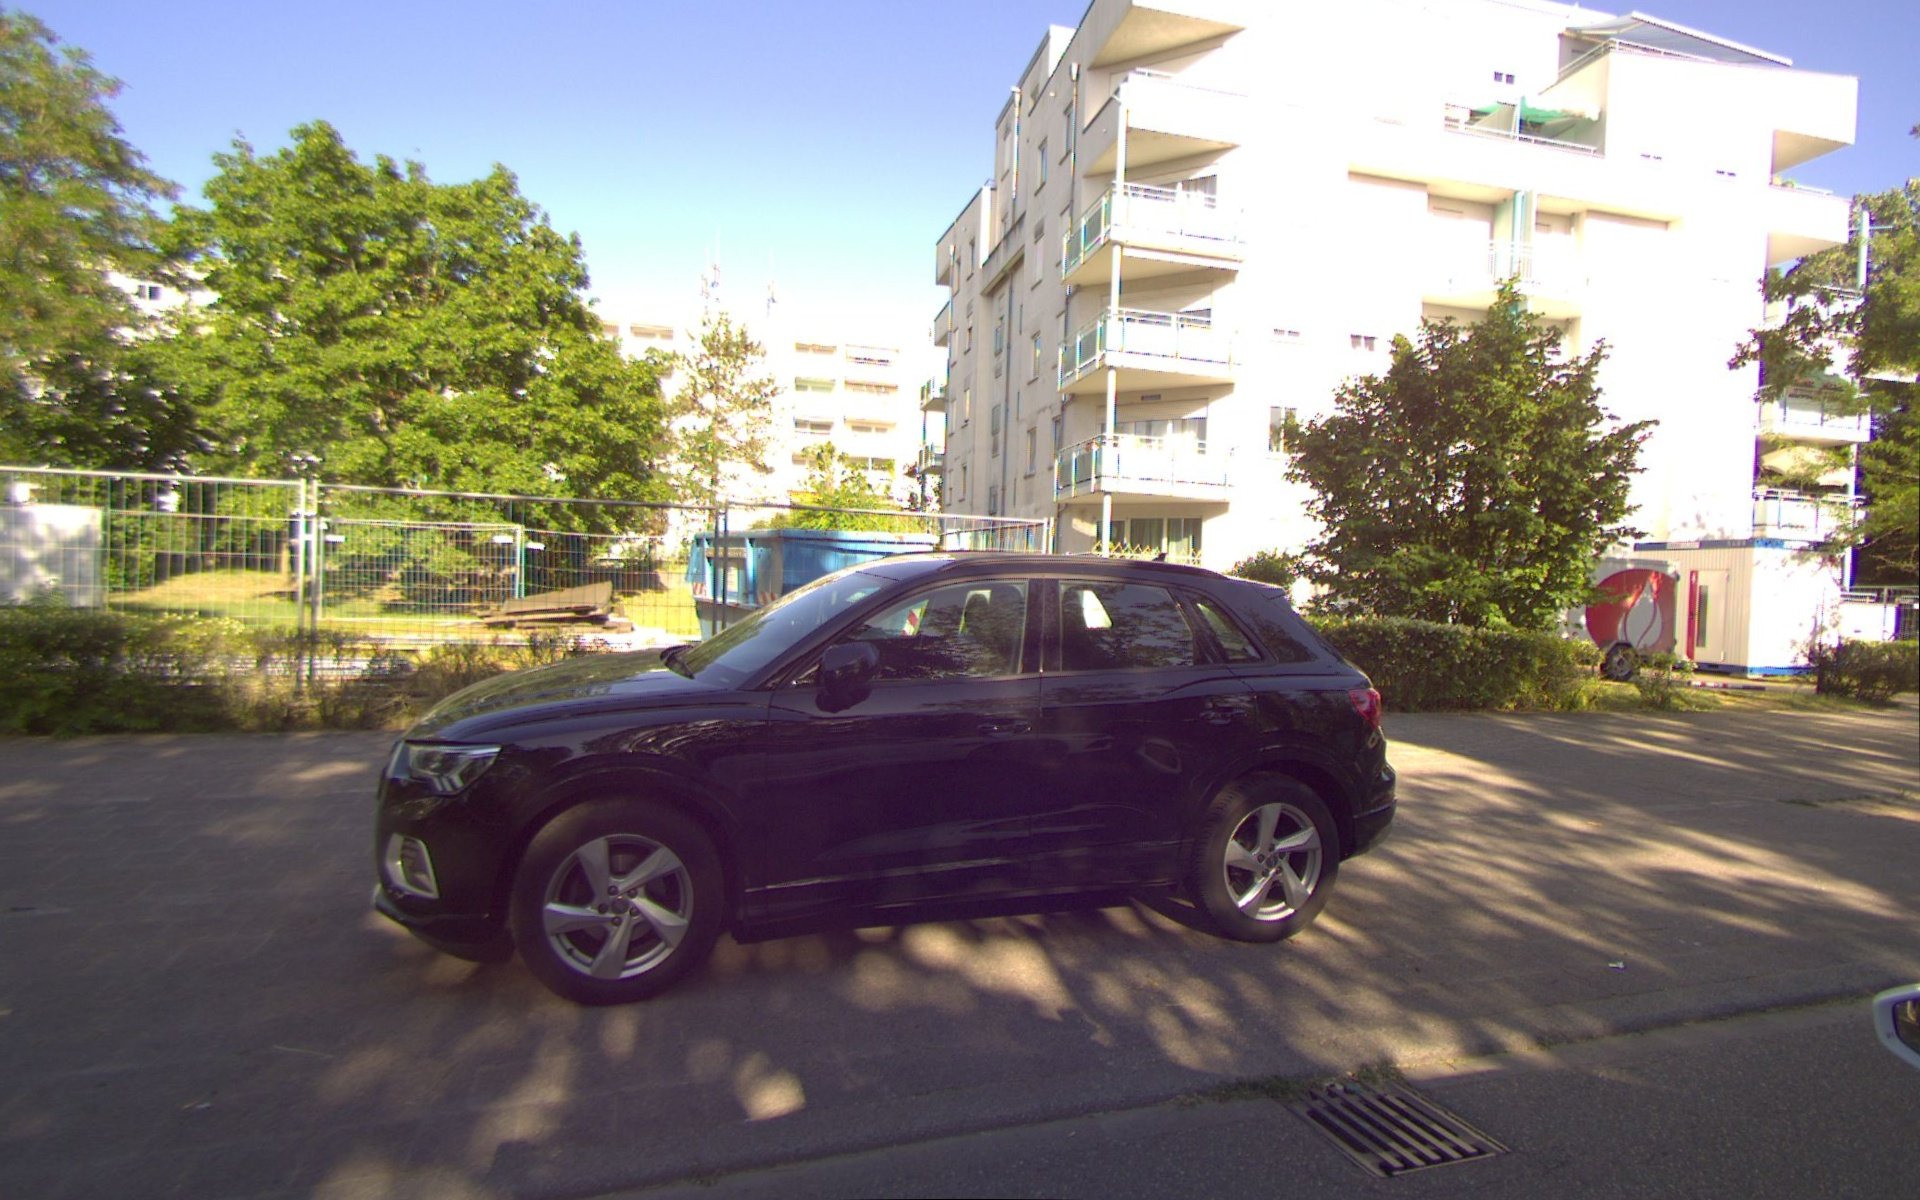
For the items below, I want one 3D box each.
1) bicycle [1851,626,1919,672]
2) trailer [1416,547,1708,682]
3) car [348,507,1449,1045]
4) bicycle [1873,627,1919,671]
[{"bbox_3d":[22.857,1.195,24.540,0.393,1.040,1.696,2,1,-12],"label":"bicycle"},{"bbox_3d":[10.564,0.237,17.718,4.273,2.149,1.864,2,3,-15],"label":"trailer"},{"bbox_3d":[-0.151,0.550,4.553,4.154,1.643,1.773,2,3,-19],"label":"car"},{"bbox_3d":[23.519,1.217,24.650,0.393,1.040,1.696,2,1,-12],"label":"bicycle"}]
